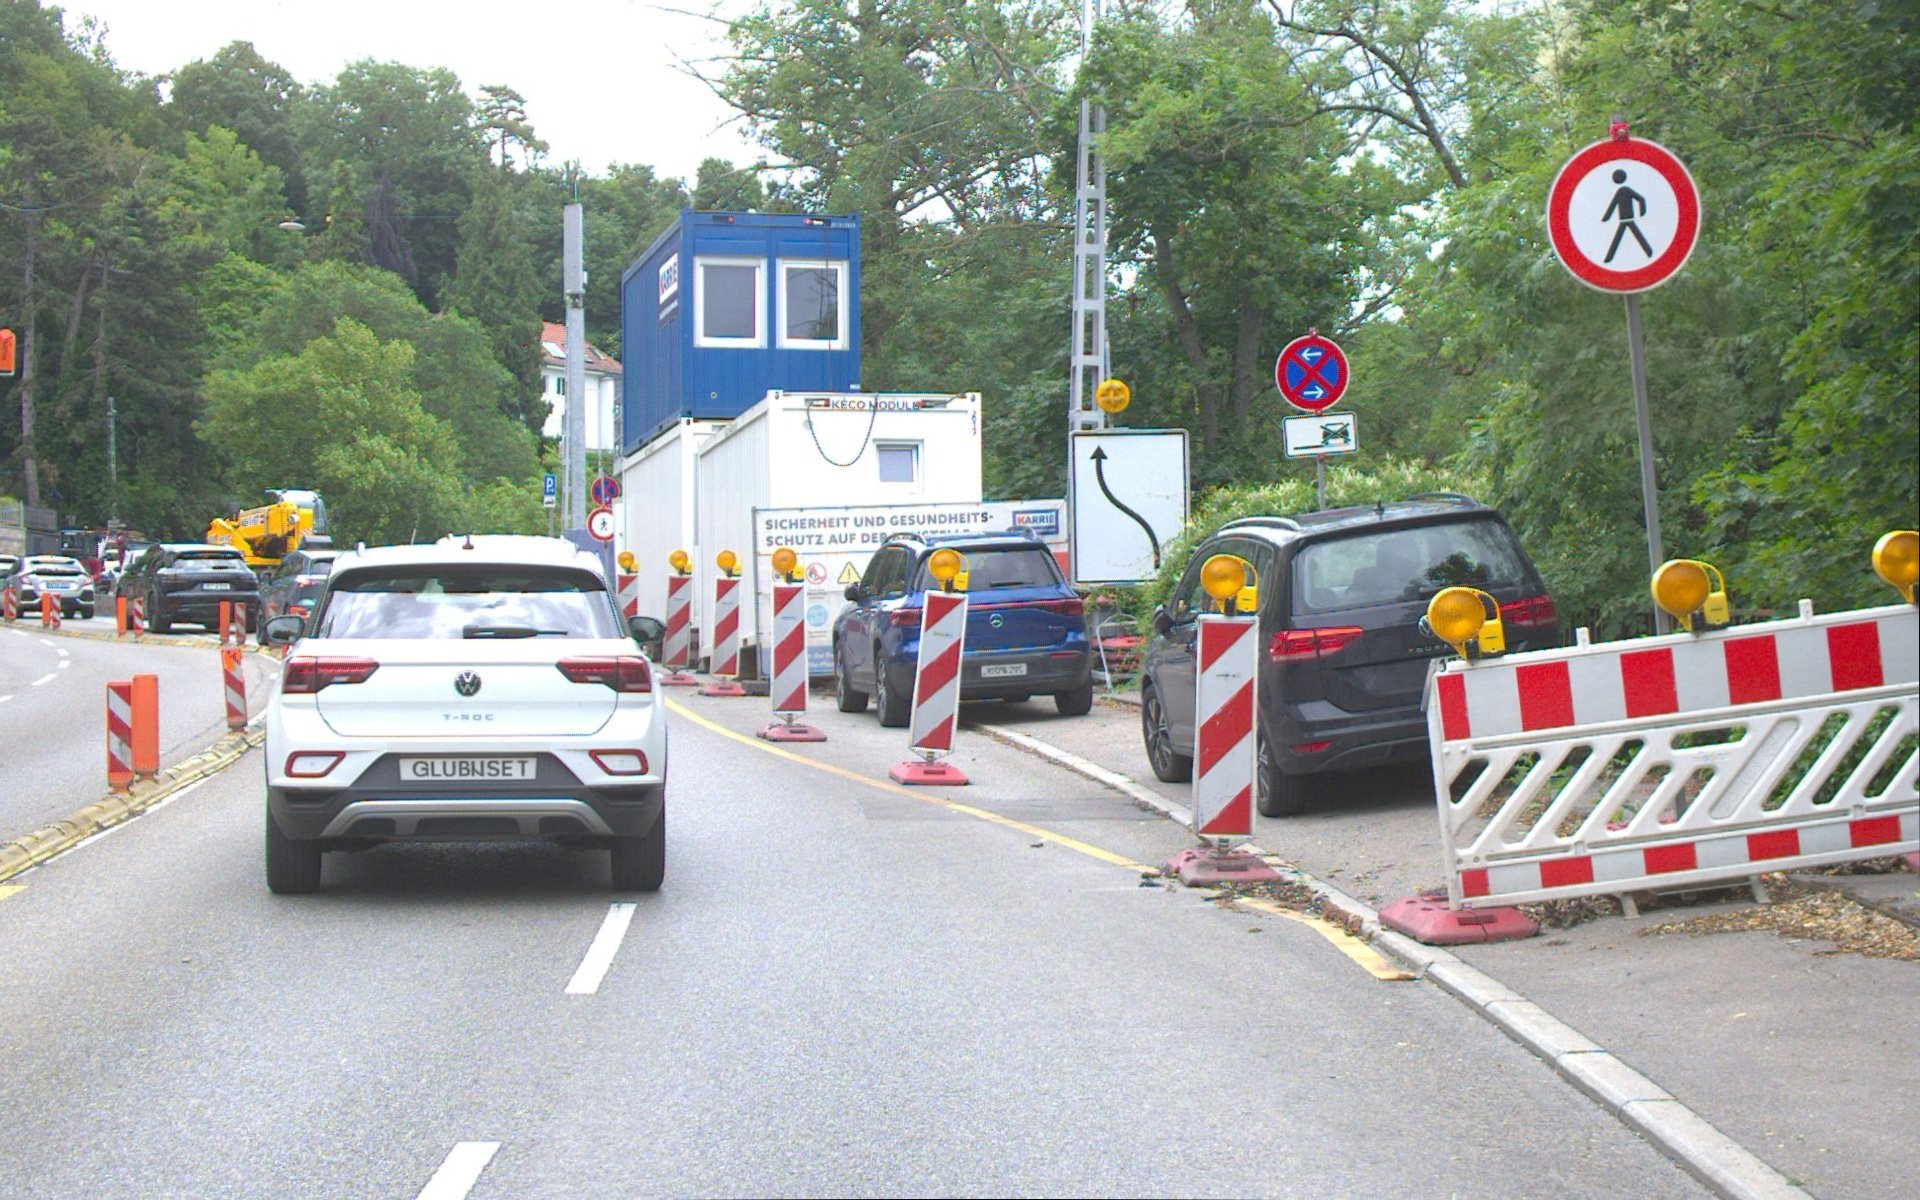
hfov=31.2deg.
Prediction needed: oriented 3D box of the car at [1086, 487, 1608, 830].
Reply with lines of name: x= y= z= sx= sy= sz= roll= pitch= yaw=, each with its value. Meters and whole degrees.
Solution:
car: x=2.169 y=0.293 z=20.694 sx=1.861 sy=1.668 sz=4.647 roll=-5 pitch=1 yaw=-8

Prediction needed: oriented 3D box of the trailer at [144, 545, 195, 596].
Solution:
trailer: x=-23.863 y=-0.891 z=103.763 sx=1.288 sy=1.470 sz=3.635 roll=1 pitch=0 yaw=-16

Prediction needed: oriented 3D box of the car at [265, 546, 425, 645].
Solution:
car: x=-9.825 y=-0.092 z=54.735 sx=1.794 sy=1.505 sz=4.001 roll=-1 pitch=0 yaw=-21

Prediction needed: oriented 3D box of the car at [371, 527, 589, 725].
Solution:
car: x=-4.297 y=0.201 z=30.977 sx=1.809 sy=1.657 sz=4.001 roll=0 pitch=0 yaw=-7

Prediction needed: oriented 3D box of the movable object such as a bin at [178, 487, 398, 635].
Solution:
movable object such as a bin: x=-15.042 y=-0.847 z=76.455 sx=2.811 sy=3.060 sz=7.824 roll=1 pitch=0 yaw=-26

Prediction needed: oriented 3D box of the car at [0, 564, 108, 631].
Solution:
car: x=-20.991 y=-0.071 z=79.271 sx=1.794 sy=1.505 sz=4.001 roll=-1 pitch=1 yaw=-26

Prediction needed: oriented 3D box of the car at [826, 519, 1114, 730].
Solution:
car: x=0.001 y=0.189 z=30.979 sx=1.839 sy=1.637 sz=4.503 roll=-4 pitch=1 yaw=-8

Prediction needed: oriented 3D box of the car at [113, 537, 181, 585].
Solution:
car: x=-26.205 y=-1.239 z=110.711 sx=1.794 sy=1.505 sz=4.001 roll=0 pitch=0 yaw=-18

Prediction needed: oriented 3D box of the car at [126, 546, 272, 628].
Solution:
car: x=-14.429 y=-0.257 z=65.043 sx=1.794 sy=1.505 sz=4.001 roll=-1 pitch=1 yaw=-26

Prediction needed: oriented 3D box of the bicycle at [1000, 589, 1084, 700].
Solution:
bicycle: x=0.854 y=0.454 z=36.160 sx=0.498 sy=1.104 sz=1.800 roll=-3 pitch=1 yaw=-10

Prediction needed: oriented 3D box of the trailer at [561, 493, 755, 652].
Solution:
trailer: x=-5.189 y=-0.466 z=58.351 sx=2.106 sy=2.541 sz=5.120 roll=-1 pitch=1 yaw=-18

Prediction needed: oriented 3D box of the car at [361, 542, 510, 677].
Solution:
car: x=-6.804 y=0.098 z=44.565 sx=1.809 sy=1.657 sz=4.001 roll=0 pitch=0 yaw=-9

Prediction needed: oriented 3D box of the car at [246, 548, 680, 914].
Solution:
car: x=-2.411 y=0.534 z=16.530 sx=1.809 sy=1.526 sz=4.001 roll=0 pitch=0 yaw=-9

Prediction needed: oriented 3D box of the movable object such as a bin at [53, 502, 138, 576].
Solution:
movable object such as a bin: x=-31.936 y=-2.232 z=127.153 sx=2.211 sy=2.654 sz=4.945 roll=1 pitch=0 yaw=-5
